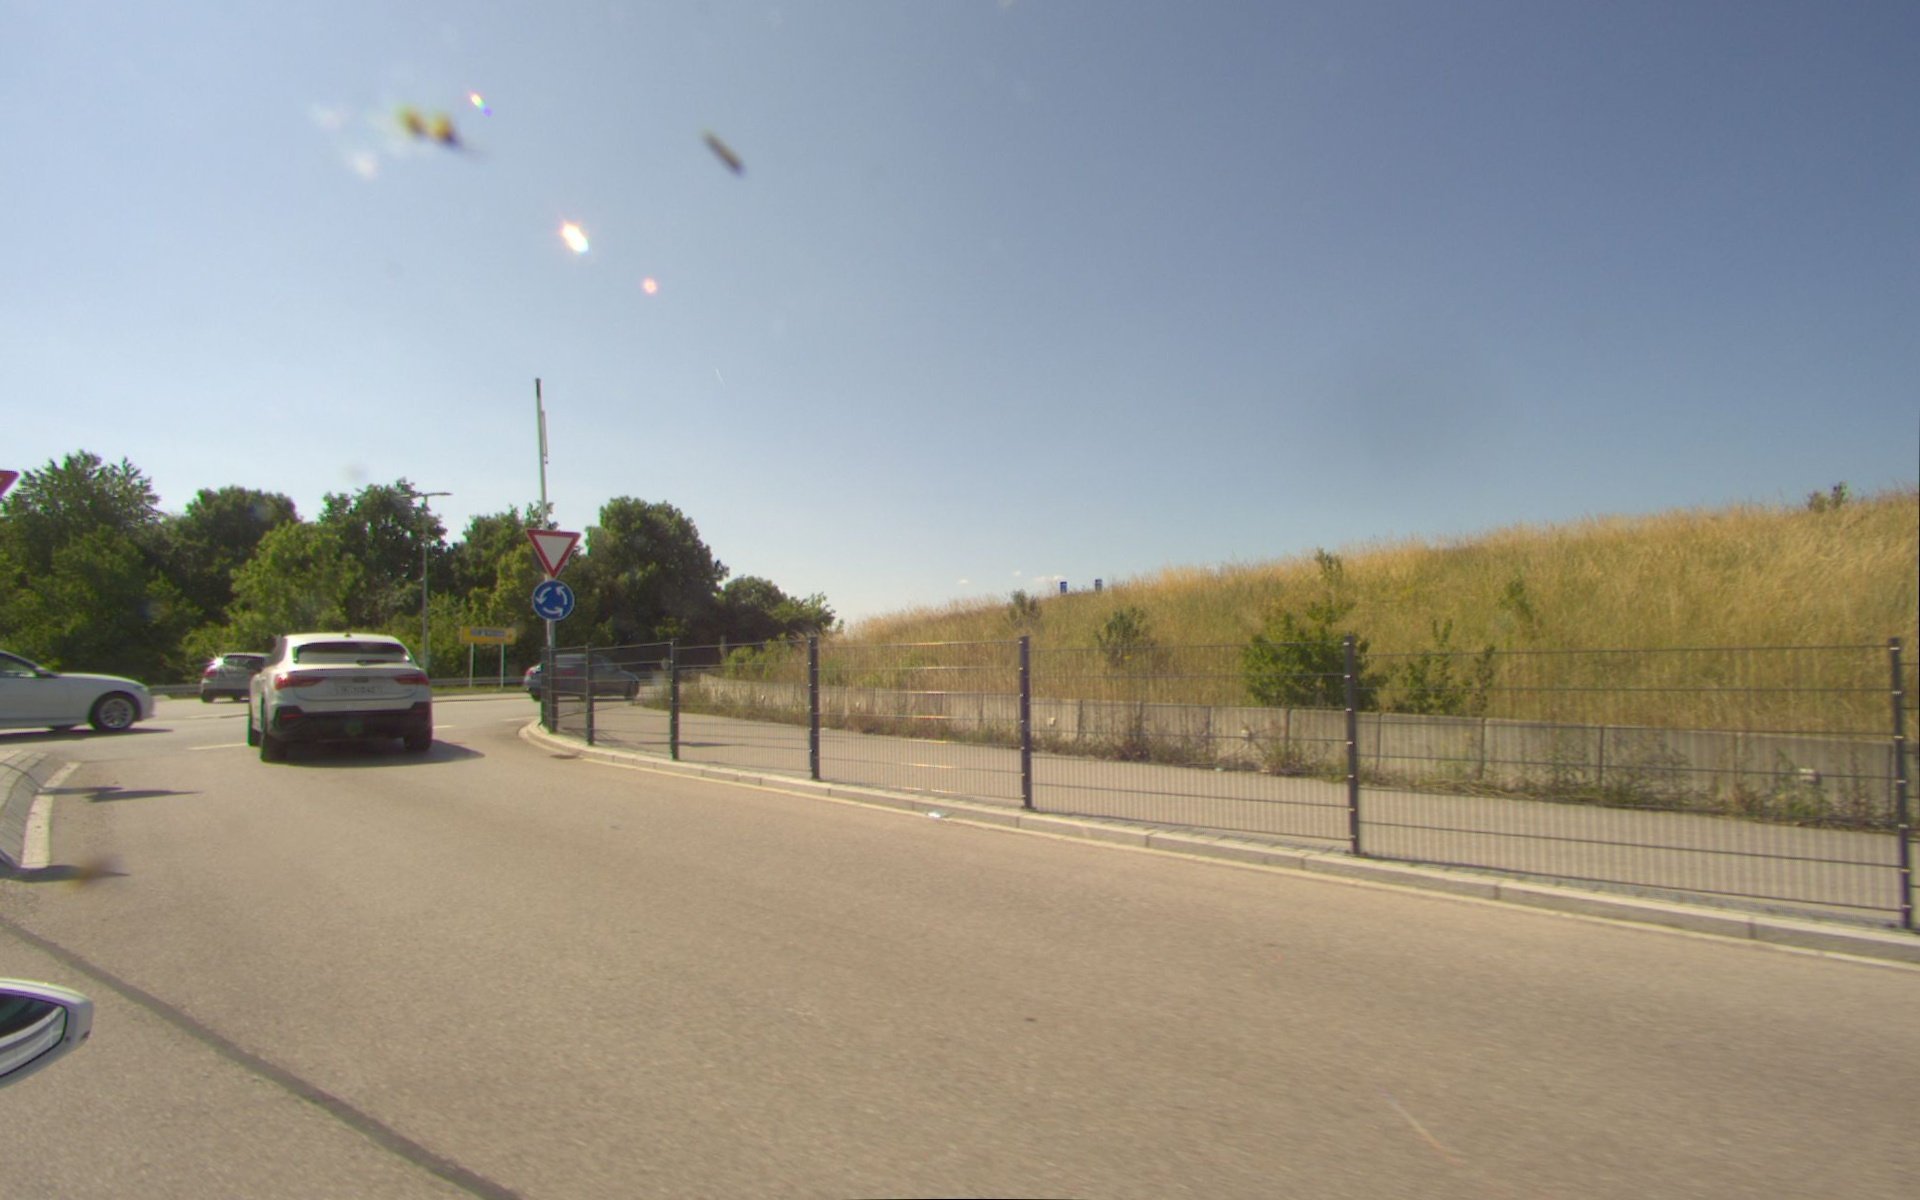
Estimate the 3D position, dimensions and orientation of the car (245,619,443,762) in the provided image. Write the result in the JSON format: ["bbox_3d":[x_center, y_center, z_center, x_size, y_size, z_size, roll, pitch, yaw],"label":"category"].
[{"bbox_3d":[-8.468,1.141,13.590,1.826,1.616,4.293,2,-3,-38],"label":"car"}]

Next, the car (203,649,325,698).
[{"bbox_3d":[-20.667,2.170,29.906,1.502,1.368,3.770,1,-4,-9],"label":"car"}]

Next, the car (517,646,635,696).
[{"bbox_3d":[-12.013,2.235,31.713,1.961,1.470,4.878,0,-4,-1],"label":"car"}]

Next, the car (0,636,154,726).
[{"bbox_3d":[-15.371,1.246,15.430,1.548,1.368,4.328,-1,-4,27],"label":"car"}]
